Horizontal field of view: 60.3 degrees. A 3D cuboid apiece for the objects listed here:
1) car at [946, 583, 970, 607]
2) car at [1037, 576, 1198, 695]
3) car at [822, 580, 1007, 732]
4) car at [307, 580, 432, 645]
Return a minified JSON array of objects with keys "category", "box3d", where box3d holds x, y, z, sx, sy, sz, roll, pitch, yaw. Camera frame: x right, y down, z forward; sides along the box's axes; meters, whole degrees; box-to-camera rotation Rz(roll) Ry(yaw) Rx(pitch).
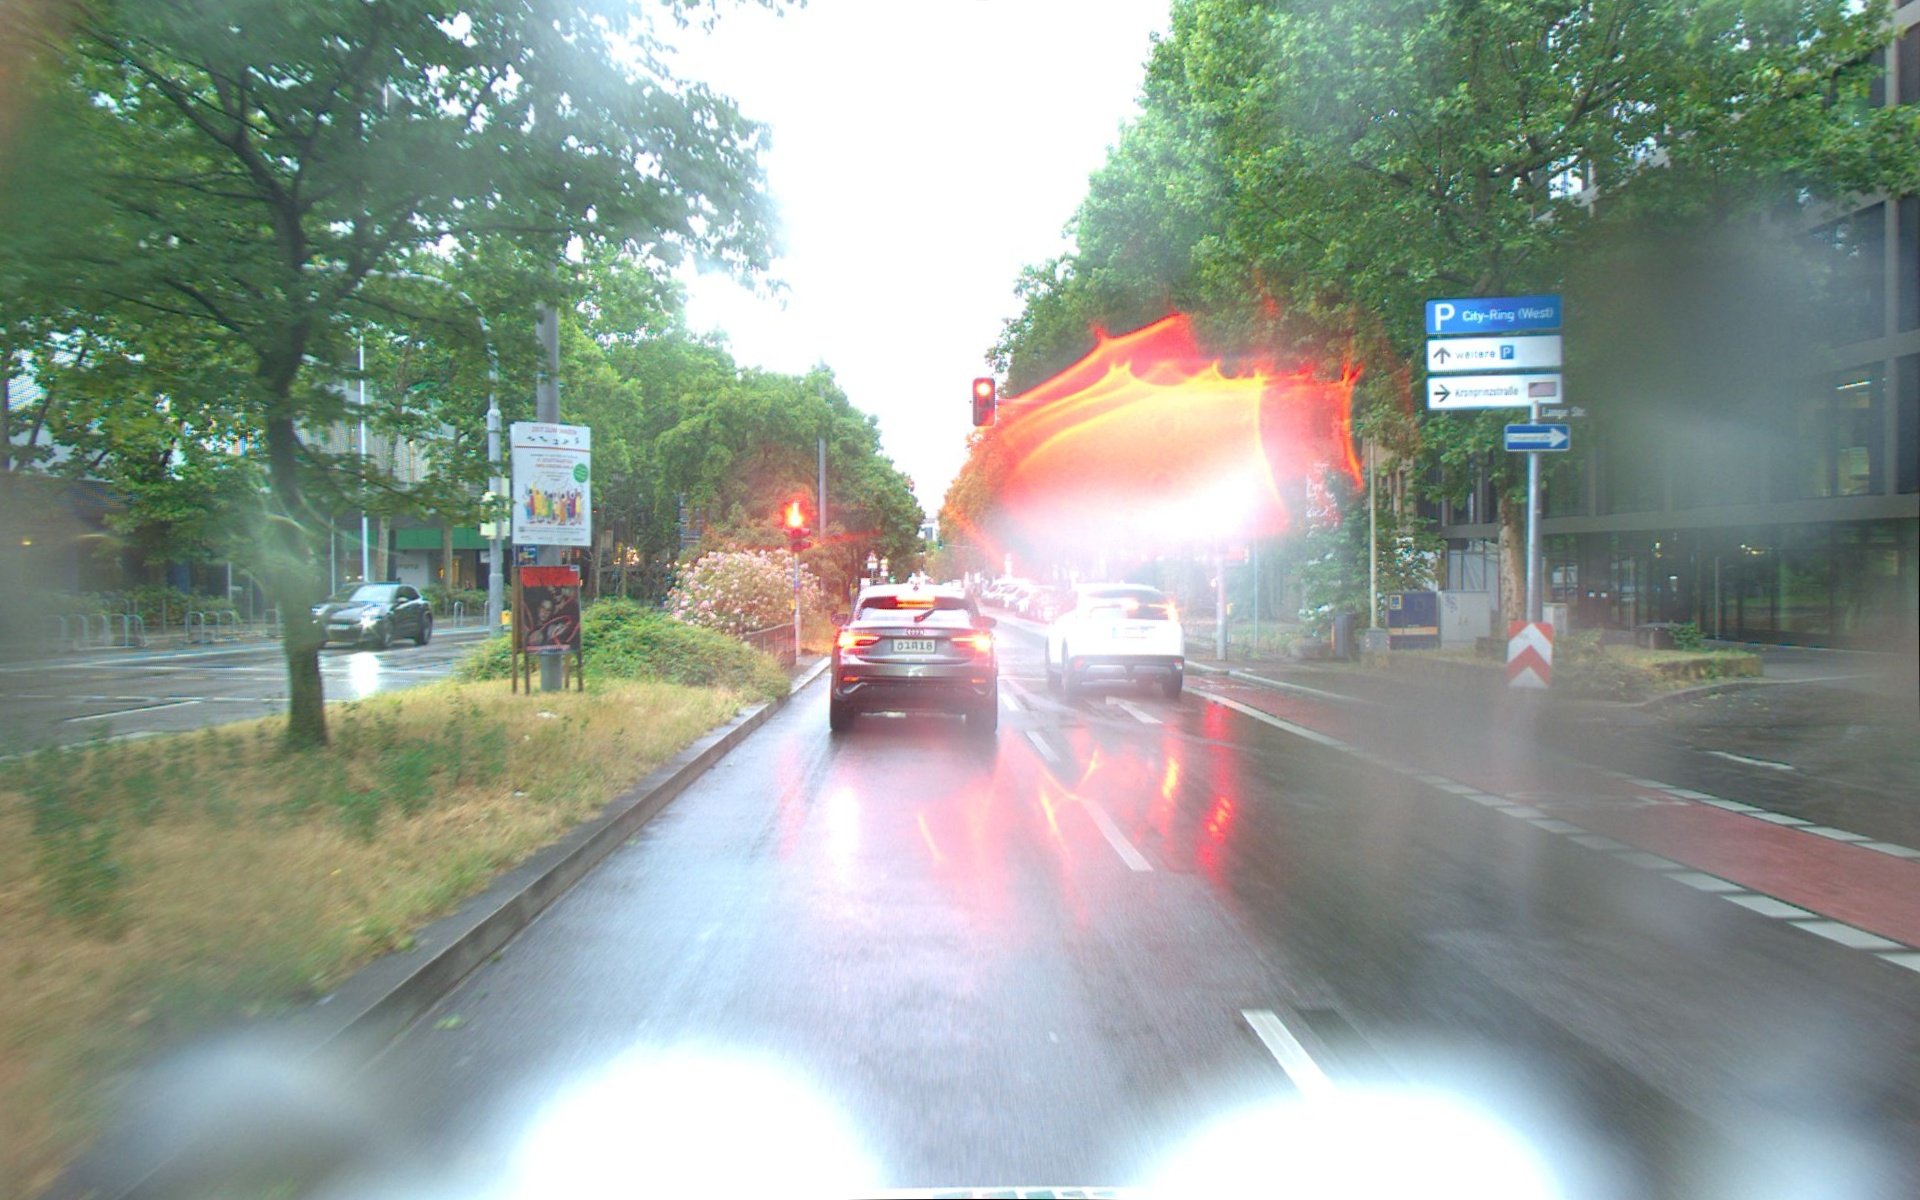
[{"category":"car","box3d":[-0.168,-0.394,120.822,1.588,1.695,3.999,-1,1,-2]},{"category":"car","box3d":[2.390,0.474,26.331,1.953,1.684,4.887,0,1,-2]},{"category":"car","box3d":[-0.521,0.549,18.859,1.880,1.517,3.999,0,1,-2]},{"category":"car","box3d":[-14.966,0.280,42.136,1.793,1.579,4.187,0,1,-2]}]
